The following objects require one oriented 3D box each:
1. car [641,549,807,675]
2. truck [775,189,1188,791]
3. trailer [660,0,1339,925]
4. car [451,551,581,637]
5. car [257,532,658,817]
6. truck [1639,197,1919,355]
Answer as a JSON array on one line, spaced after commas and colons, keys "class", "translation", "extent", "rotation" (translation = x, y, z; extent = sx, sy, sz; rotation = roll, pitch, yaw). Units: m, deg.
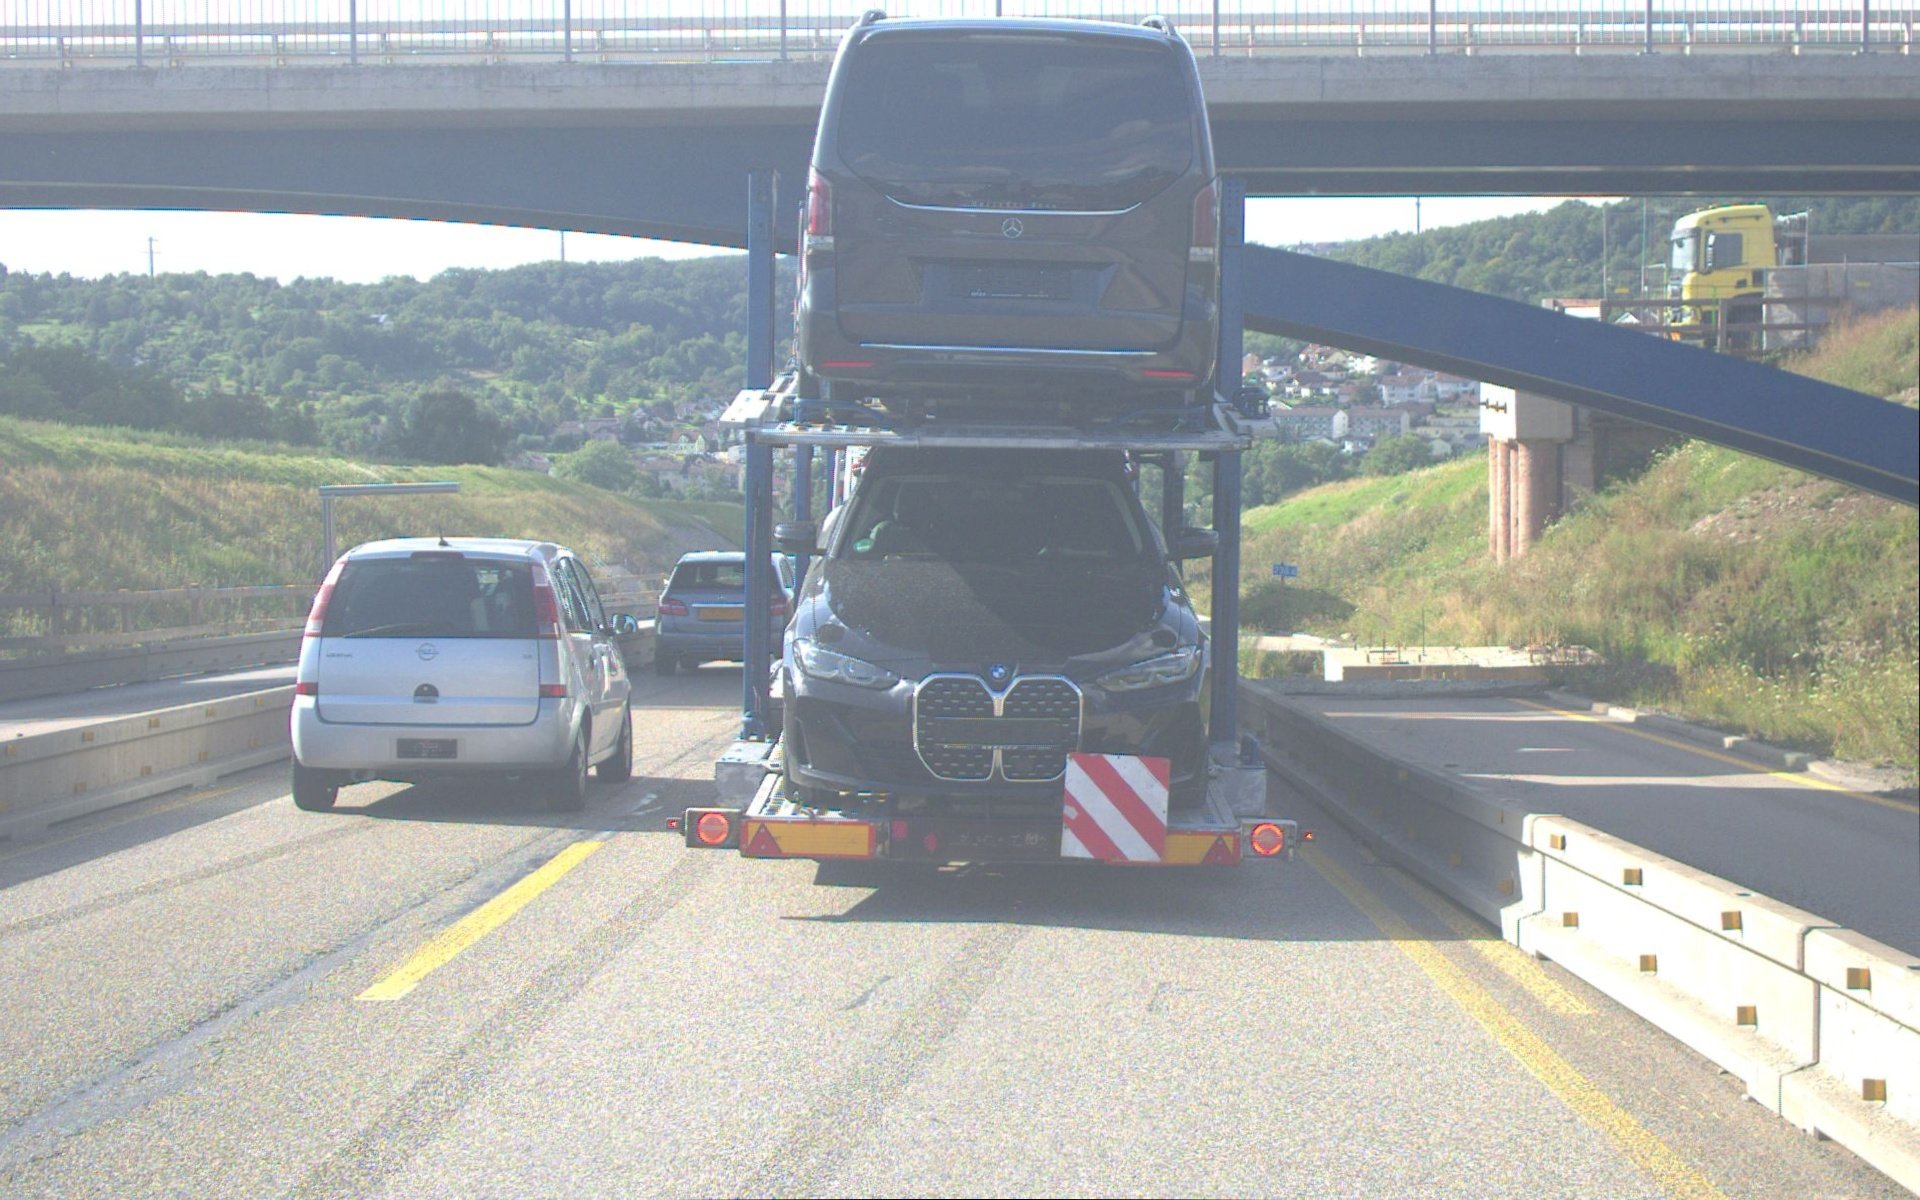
[{"class": "car", "translation": [-2.973, 0.111, 44.041], "extent": [1.796, 1.525, 4.295], "rotation": [0, 1, 0]}, {"class": "truck", "translation": [0.170, -0.748, 25.347], "extent": [2.678, 3.908, 6.027], "rotation": [0, 1, 1]}, {"class": "trailer", "translation": [0.163, -0.775, 19.461], "extent": [2.708, 4.015, 11.419], "rotation": [0, 1, 0]}, {"class": "car", "translation": [-8.416, -0.144, 65.465], "extent": [1.823, 1.487, 4.218], "rotation": [-3, 1, 0]}, {"class": "car", "translation": [-3.014, 0.373, 21.568], "extent": [1.796, 1.591, 4.743], "rotation": [0, 1, 0]}, {"class": "truck", "translation": [19.764, -7.048, 75.158], "extent": [9.263, 3.217, 2.960], "rotation": [0, 1, 1]}]
